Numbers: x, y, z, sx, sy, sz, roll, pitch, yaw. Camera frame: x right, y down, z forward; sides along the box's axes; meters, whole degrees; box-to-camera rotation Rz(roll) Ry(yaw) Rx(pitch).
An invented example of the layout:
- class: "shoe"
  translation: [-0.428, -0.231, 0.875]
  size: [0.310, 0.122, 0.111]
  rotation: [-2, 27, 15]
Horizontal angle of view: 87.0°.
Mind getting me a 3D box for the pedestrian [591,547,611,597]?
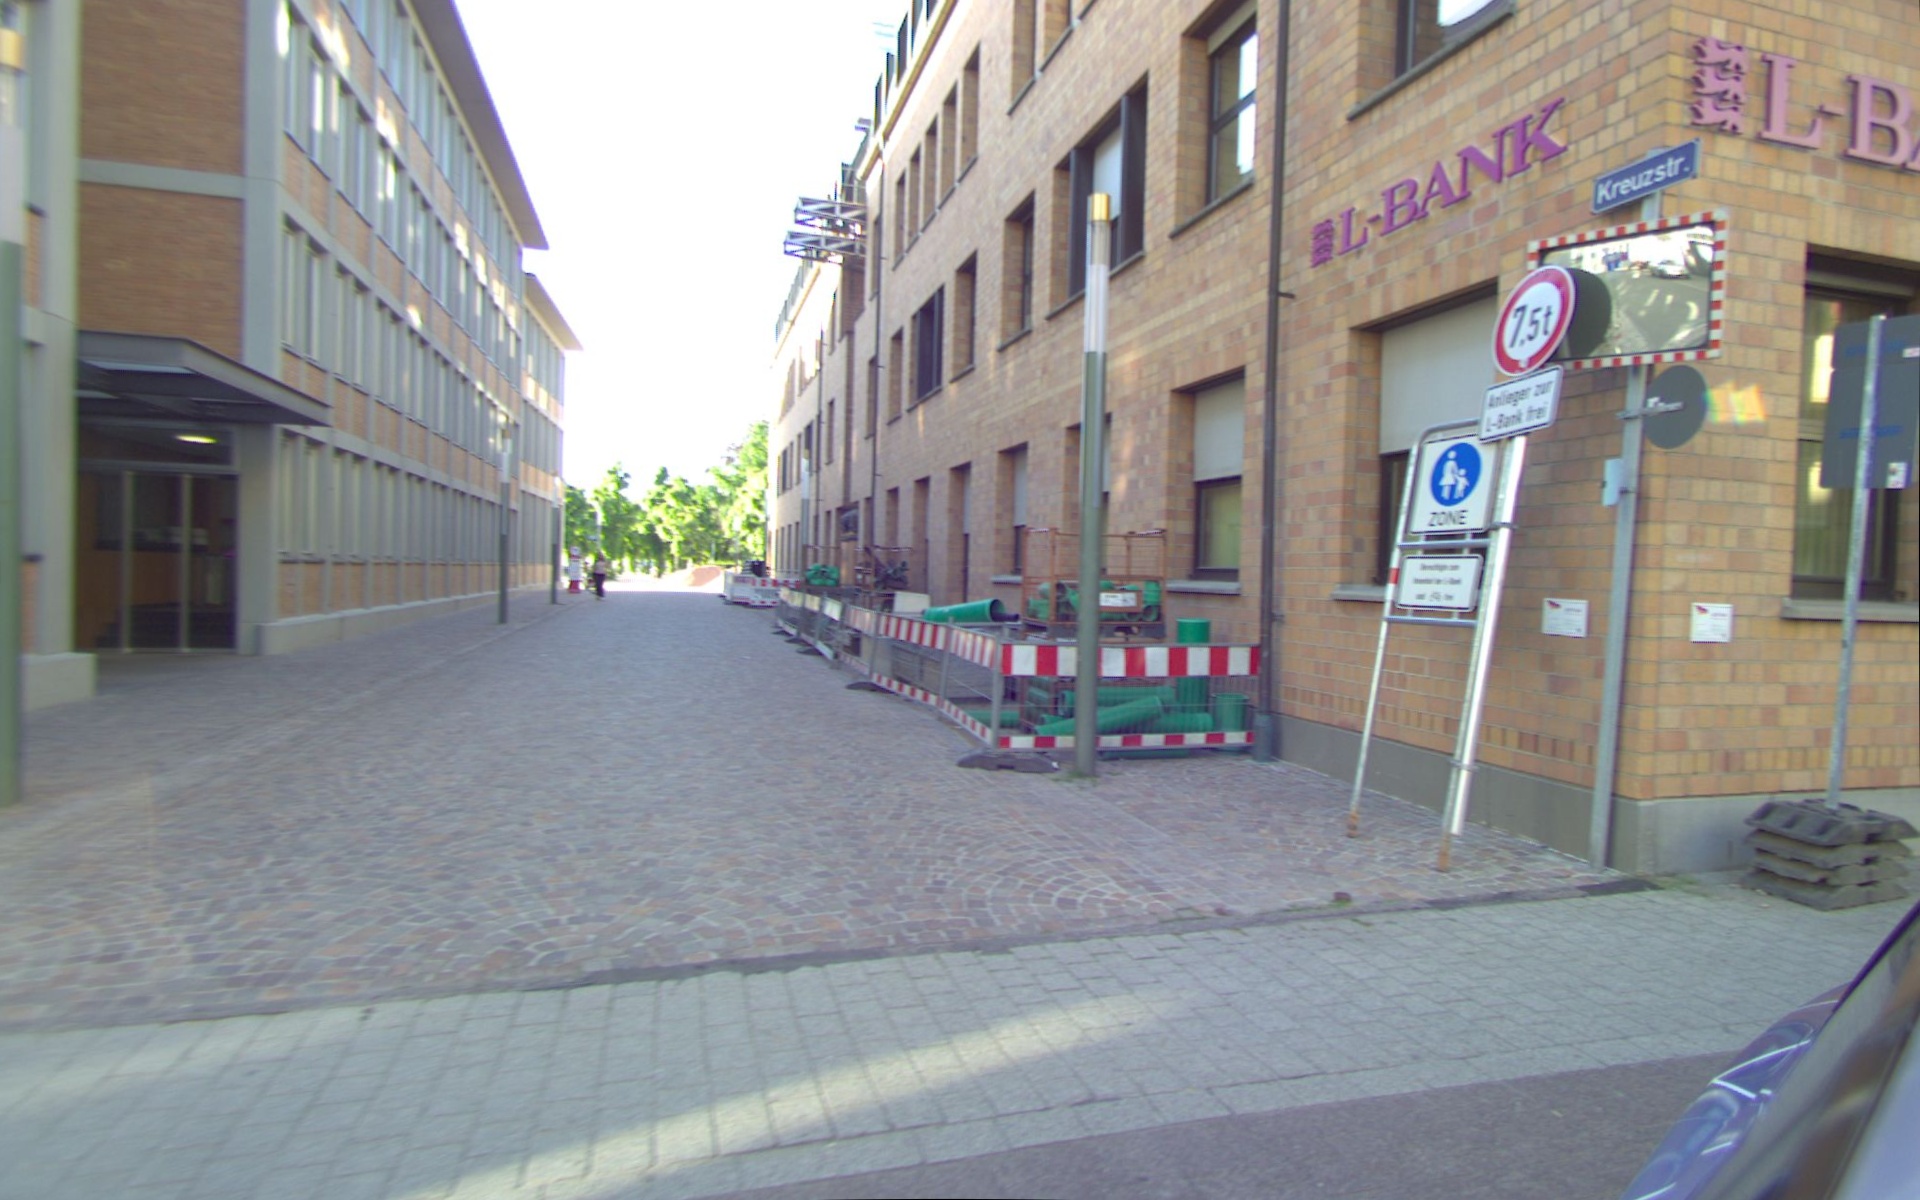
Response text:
- class: "pedestrian"
  translation: [-13.256, -1.028, 37.376]
  size: [0.625, 1.808, 0.653]
  rotation: [1, -1, -16]
